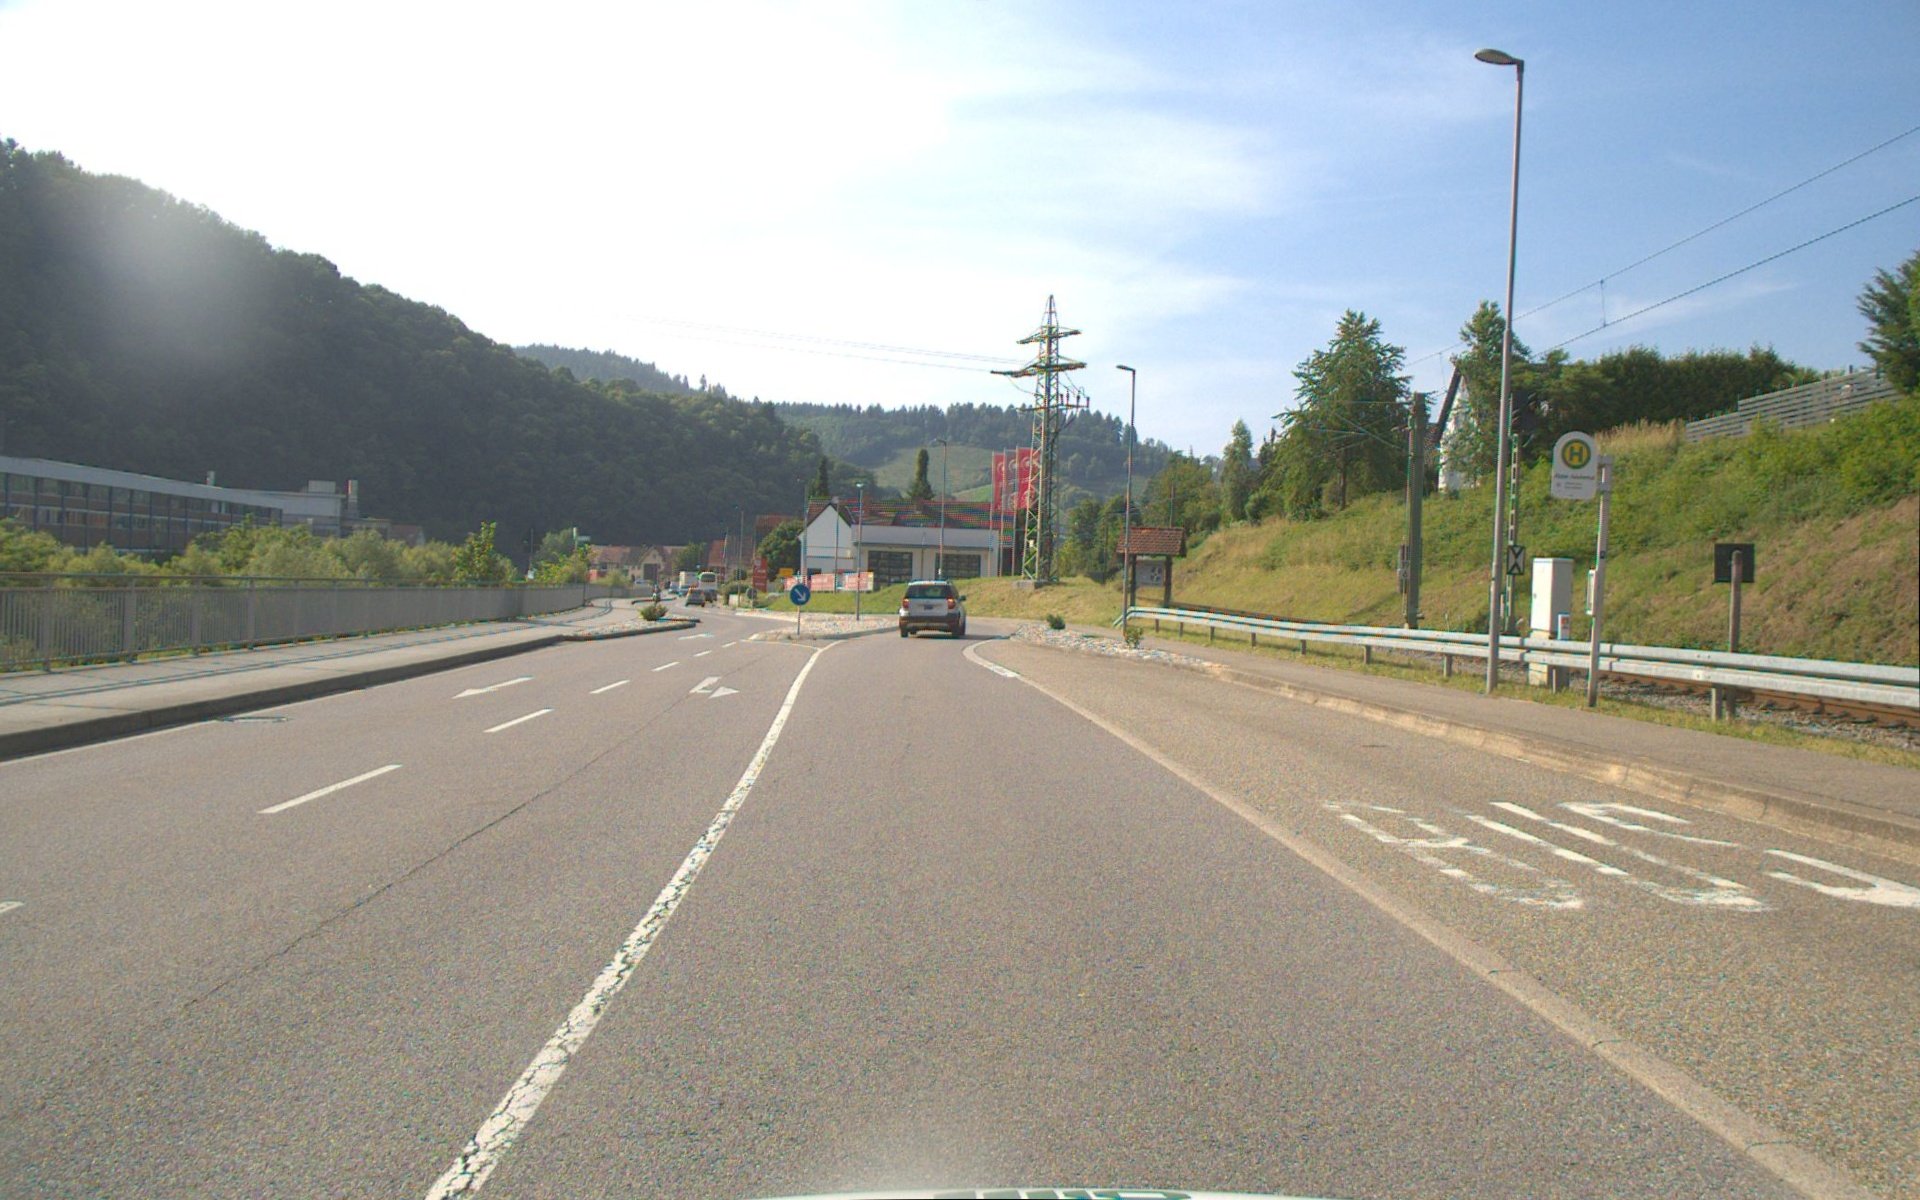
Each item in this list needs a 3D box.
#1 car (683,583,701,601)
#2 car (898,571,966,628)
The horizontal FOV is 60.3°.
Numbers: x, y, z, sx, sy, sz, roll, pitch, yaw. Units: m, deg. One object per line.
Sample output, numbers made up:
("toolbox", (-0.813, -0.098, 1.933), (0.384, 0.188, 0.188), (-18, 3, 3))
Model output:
("car", (-23.203, -0.685, 143.041), (1.428, 1.460, 2.928), (2, 1, -12))
("car", (-0.872, -0.013, 49.557), (1.824, 1.571, 4.370), (2, 0, -3))
